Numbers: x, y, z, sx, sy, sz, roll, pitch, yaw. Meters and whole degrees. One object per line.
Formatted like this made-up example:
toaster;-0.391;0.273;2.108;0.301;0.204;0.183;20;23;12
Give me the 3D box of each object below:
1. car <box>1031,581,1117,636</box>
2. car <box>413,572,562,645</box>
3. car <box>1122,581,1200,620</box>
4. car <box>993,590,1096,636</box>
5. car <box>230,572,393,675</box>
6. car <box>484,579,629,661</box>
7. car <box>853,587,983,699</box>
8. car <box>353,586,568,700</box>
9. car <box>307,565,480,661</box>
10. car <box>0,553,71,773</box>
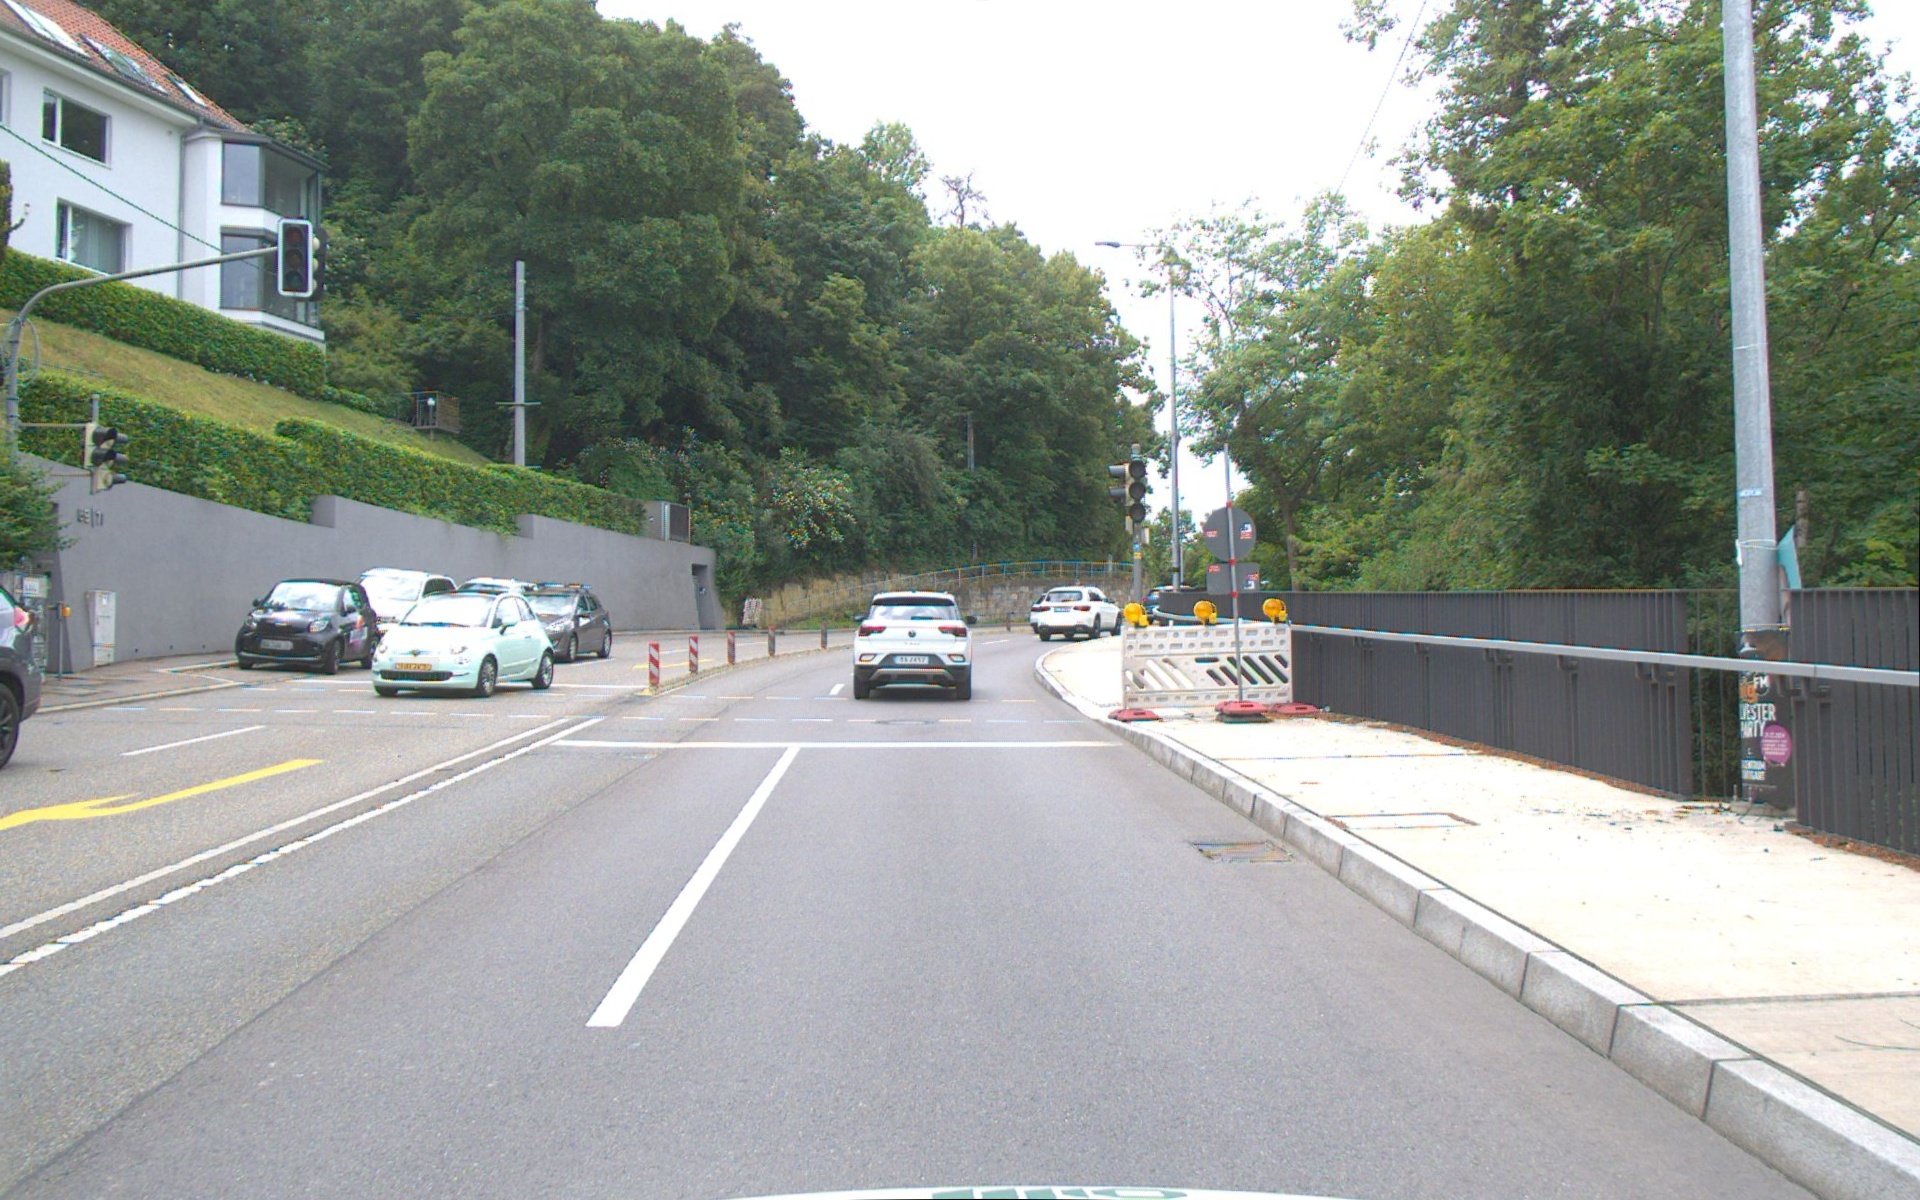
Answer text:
car;3.621;0.277;51.981;1.951;1.614;4.003;1;0;15
car;-11.286;0.209;39.804;1.794;1.600;4.478;2;0;7
car;8.607;0.025;70.553;1.956;1.568;4.004;1;0;28
car;3.136;0.492;60.496;1.875;1.601;3.984;1;0;36
car;-11.312;0.373;29.036;1.676;1.600;2.957;3;1;-1
car;-8.481;0.405;35.145;1.675;1.625;4.209;1;0;6
car;-0.703;0.599;25.267;1.830;1.563;3.801;0;0;-3
car;-7.192;0.567;24.180;1.675;1.492;3.663;1;0;6
car;-11.538;0.241;34.052;1.821;1.761;4.761;2;0;0
car;-8.417;0.489;11.715;1.845;1.726;4.669;0;0;-2
